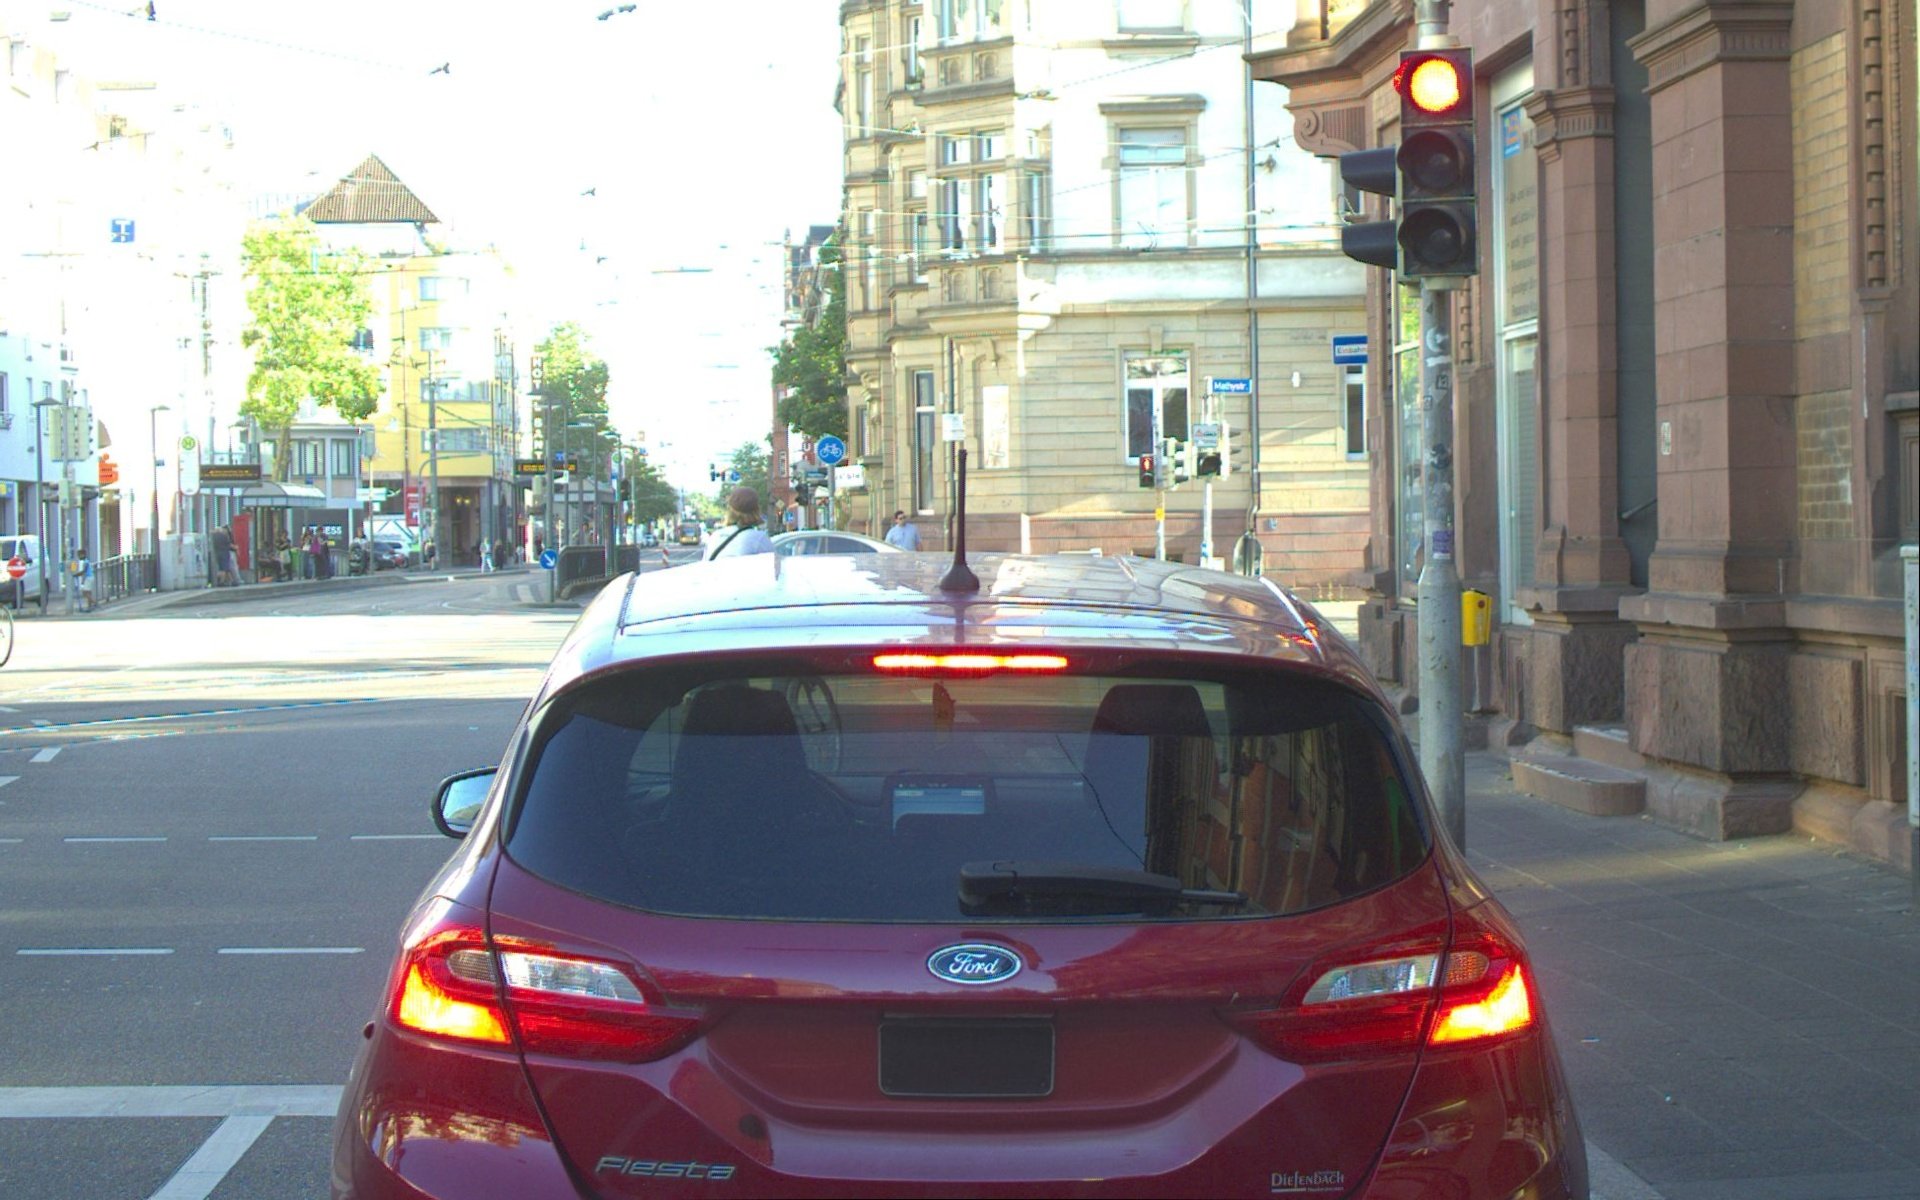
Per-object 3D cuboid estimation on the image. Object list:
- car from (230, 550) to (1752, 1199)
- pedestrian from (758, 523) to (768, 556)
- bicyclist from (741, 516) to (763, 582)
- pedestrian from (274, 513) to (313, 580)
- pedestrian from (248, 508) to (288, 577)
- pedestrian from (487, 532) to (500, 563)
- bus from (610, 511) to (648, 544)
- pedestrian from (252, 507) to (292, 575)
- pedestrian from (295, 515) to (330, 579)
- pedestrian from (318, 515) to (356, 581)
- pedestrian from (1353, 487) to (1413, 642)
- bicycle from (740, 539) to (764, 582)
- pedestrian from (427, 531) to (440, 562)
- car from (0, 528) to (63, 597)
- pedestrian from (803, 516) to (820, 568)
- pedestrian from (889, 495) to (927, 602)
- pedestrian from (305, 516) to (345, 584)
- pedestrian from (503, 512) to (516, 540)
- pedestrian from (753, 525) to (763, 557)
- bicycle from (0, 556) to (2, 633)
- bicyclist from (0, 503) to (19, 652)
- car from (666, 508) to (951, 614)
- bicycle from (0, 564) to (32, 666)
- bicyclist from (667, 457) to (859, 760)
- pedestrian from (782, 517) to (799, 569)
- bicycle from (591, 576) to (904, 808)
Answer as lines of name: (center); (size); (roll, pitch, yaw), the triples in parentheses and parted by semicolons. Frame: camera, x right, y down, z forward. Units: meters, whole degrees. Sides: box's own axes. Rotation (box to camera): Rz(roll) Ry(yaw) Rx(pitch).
car: (-0.127, 0.663, 5.929); (1.754, 1.461, 3.946); (1, 1, -5)
pedestrian: (-11.486, -3.527, 200.274); (0.577, 1.880, 0.631); (-1, 1, -3)
bicyclist: (-5.272, -1.299, 87.147); (0.499, 1.670, 0.545); (-1, 1, -1)
pedestrian: (-20.327, -1.639, 104.901); (1.045, 2.007, 0.959); (-1, 1, -5)
pedestrian: (-20.231, -1.683, 100.478); (0.956, 2.007, 1.049); (-1, 1, -3)
pedestrian: (-22.128, -2.484, 163.209); (0.524, 1.483, 0.583); (-1, 1, -1)
bus: (-20.865, -4.576, 217.080); (1.925, 2.007, 7.138); (-1, 1, -2)
pedestrian: (-20.584, -1.770, 102.835); (1.045, 2.007, 0.959); (-1, 1, -5)
pedestrian: (-20.364, -1.673, 108.103); (0.956, 2.007, 1.049); (-1, 1, -5)
pedestrian: (-19.168, -1.607, 105.828); (1.045, 2.007, 0.959); (-1, 1, -5)
pedestrian: (4.850, -0.409, 39.482); (0.560, 1.749, 0.650); (-2, 1, -1)
bicycle: (-5.276, -1.004, 87.366); (0.526, 1.085, 1.486); (-1, 1, -1)
pedestrian: (-25.504, -2.600, 166.573); (0.580, 1.483, 0.526); (-1, 1, -5)
car: (-24.188, -0.978, 87.949); (1.701, 1.712, 3.565); (-1, 1, -4)
pedestrian: (-5.779, -2.271, 133.923); (0.577, 2.007, 0.631); (-1, 1, 3)
pedestrian: (-0.979, -0.970, 64.823); (0.651, 2.007, 0.760); (-1, 1, -4)
pedestrian: (-19.054, -1.509, 103.178); (1.045, 2.007, 0.959); (-1, 1, -5)
pedestrian: (-25.779, -4.250, 196.781); (0.628, 1.599, 0.579); (-1, 1, -20)
pedestrian: (-12.002, -3.526, 203.938); (0.577, 1.880, 0.669); (-1, 1, -3)
bicycle: (-14.961, -0.089, 51.983); (0.807, 1.143, 2.011); (-1, 1, -18)
bicyclist: (-11.409, -0.260, 39.891); (0.807, 1.720, 0.794); (-1, 1, -24)
car: (-2.507, -0.662, 56.629); (4.443, 1.635, 1.704); (-1, 1, -12)
bicycle: (-11.308, 0.164, 39.693); (0.807, 1.143, 2.050); (-1, 1, -24)
bicyclist: (-1.083, 0.035, 18.908); (0.765, 1.621, 0.730); (1, 1, 33)
pedestrian: (-6.604, -2.223, 133.806); (0.577, 2.007, 0.631); (-1, 1, 3)
bicycle: (-1.135, 0.471, 18.835); (0.627, 1.173, 2.021); (1, 2, 33)
